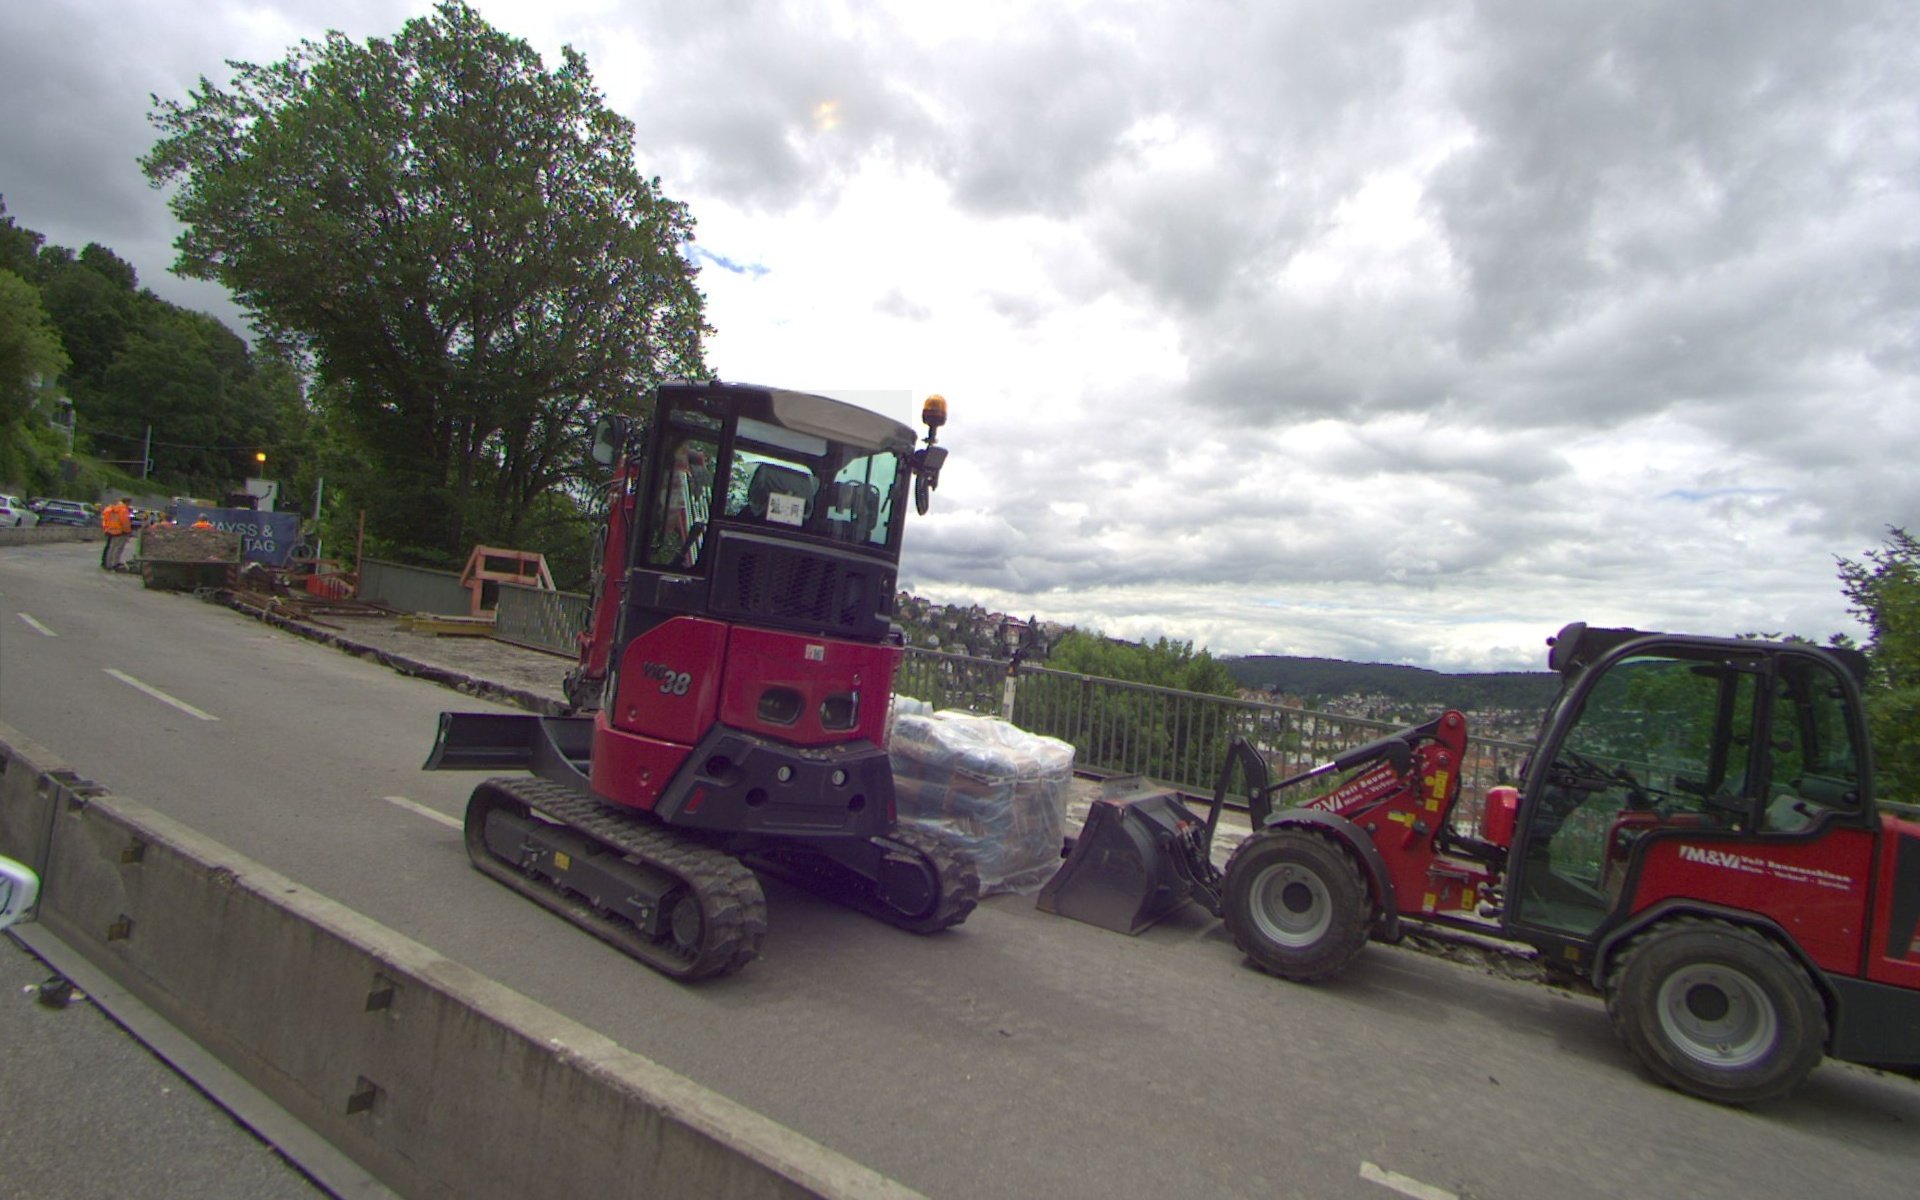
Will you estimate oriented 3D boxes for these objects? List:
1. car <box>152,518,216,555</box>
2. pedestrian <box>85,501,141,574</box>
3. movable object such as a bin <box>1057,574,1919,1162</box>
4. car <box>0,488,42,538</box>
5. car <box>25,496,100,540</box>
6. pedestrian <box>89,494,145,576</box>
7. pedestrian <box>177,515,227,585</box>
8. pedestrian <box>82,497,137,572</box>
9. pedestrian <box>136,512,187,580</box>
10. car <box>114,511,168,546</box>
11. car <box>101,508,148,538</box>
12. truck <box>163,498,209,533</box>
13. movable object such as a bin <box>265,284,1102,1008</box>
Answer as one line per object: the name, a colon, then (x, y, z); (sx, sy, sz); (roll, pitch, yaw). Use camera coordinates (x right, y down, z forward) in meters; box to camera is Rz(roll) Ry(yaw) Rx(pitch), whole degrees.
car: (-35.607, -2.889, 46.238); (1.782, 1.384, 3.967); (8, -1, -31)
pedestrian: (-22.152, -1.641, 26.318); (0.867, 1.751, 0.874); (7, -1, 44)
movable object such as a bin: (2.854, 1.128, 5.492); (4.094, 1.965, 1.705); (7, -2, 30)
car: (-34.850, -3.209, 36.249); (1.798, 1.683, 3.966); (7, -1, -32)
car: (-41.221, -3.716, 46.291); (1.798, 1.683, 3.966); (7, -1, -32)
pedestrian: (-21.354, -1.640, 25.490); (0.812, 1.929, 0.691); (7, 0, 32)
pedestrian: (-19.873, -1.312, 26.389); (0.777, 1.708, 0.779); (8, 0, -30)
pedestrian: (-22.792, -1.761, 26.952); (0.867, 1.844, 0.874); (7, -1, 44)
pedestrian: (-20.751, -1.403, 26.164); (0.776, 1.627, 0.662); (8, 0, -30)
car: (-47.426, -4.140, 58.297); (1.798, 1.683, 3.966); (7, -1, -32)
car: (-56.469, -5.173, 68.076); (1.798, 1.683, 3.966); (7, -1, -32)
truck: (-85.532, -9.243, 111.313); (2.884, 3.192, 7.525); (8, -1, -31)
movable object such as a bin: (-1.956, 0.088, 6.121); (4.872, 2.693, 2.212); (7, -2, 39)
